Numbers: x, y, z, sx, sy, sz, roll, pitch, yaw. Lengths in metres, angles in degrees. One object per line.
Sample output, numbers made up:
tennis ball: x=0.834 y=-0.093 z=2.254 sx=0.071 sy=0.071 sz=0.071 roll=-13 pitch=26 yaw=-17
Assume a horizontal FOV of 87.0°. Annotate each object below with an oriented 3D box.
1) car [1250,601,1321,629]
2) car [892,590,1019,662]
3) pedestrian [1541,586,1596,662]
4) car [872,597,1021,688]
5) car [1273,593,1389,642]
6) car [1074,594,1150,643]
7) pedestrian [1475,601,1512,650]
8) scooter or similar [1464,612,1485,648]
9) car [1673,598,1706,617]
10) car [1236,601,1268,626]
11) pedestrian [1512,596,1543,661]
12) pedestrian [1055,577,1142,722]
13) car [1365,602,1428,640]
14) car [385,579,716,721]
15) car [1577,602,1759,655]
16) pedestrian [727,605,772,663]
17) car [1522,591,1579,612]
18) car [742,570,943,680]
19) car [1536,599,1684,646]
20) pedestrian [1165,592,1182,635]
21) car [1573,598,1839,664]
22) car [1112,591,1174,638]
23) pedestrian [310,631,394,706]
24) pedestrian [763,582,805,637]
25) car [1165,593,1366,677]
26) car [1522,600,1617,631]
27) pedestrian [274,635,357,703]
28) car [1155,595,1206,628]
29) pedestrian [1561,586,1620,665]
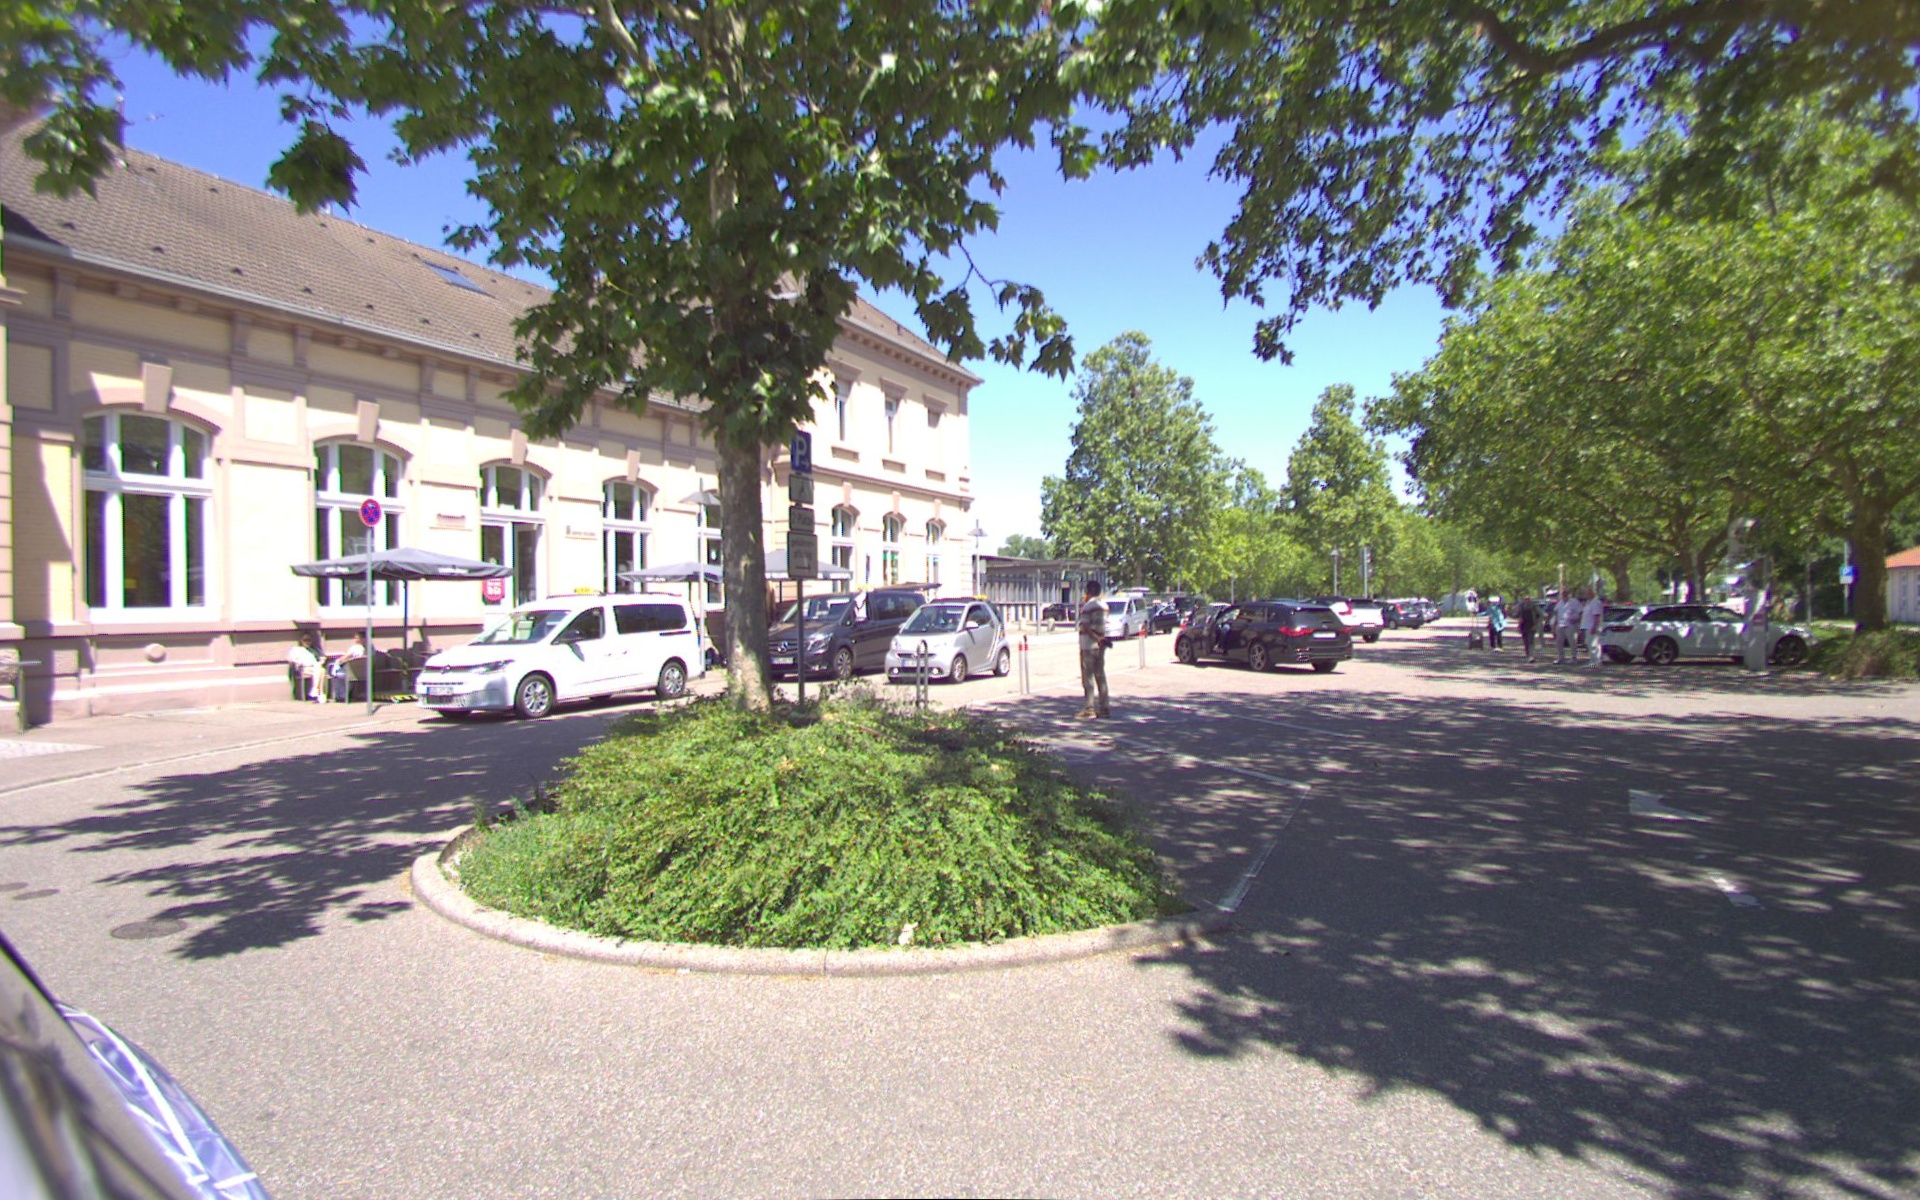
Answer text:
car: x=17.610 y=0.819 z=54.871 sx=1.772 sy=1.414 sz=3.524 roll=0 pitch=-1 yaw=-23
car: x=-0.026 y=0.742 z=29.331 sx=2.066 sy=1.854 sz=4.806 roll=-2 pitch=-2 yaw=21
pedestrian: x=14.637 y=0.572 z=24.360 sx=0.829 sy=1.784 sz=0.850 roll=-1 pitch=-1 yaw=8
car: x=-0.185 y=0.755 z=19.620 sx=1.594 sy=1.605 sz=3.077 roll=-1 pitch=-1 yaw=28
car: x=13.512 y=0.588 z=37.073 sx=1.770 sy=1.617 sz=4.076 roll=-2 pitch=1 yaw=-19
car: x=6.394 y=0.734 z=42.110 sx=1.990 sy=1.854 sz=5.281 roll=-3 pitch=-1 yaw=21
pedestrian: x=16.113 y=0.766 z=30.568 sx=0.788 sy=1.435 sz=0.693 roll=0 pitch=-1 yaw=-34
scooter or similar: x=15.815 y=0.920 z=31.088 sx=0.430 sy=1.110 sz=0.404 roll=0 pitch=-1 yaw=-35
car: x=71.350 y=0.764 z=99.049 sx=1.889 sy=1.788 sz=3.966 roll=-1 pitch=-1 yaw=25
car: x=23.754 y=1.068 z=82.318 sx=2.037 sy=1.854 sz=4.930 roll=-3 pitch=-1 yaw=21
pedestrian: x=13.815 y=0.675 z=24.646 sx=0.586 sy=1.560 sz=0.606 roll=0 pitch=0 yaw=22
pedestrian: x=1.724 y=0.598 z=12.672 sx=0.760 sy=1.730 sz=0.817 roll=-1 pitch=-1 yaw=-20
car: x=23.302 y=1.108 z=54.157 sx=1.716 sy=1.908 sz=3.997 roll=-1 pitch=-1 yaw=3
car: x=-6.205 y=0.725 z=16.125 sx=1.804 sy=1.880 sz=5.097 roll=-2 pitch=-2 yaw=24
car: x=20.582 y=0.818 z=29.534 sx=3.968 sy=1.416 sz=1.879 roll=-1 pitch=-1 yaw=-3
pedestrian: x=-5.757 y=0.914 z=27.723 sx=0.876 sy=1.555 sz=0.845 roll=0 pitch=0 yaw=22
car: x=40.870 y=0.091 z=70.087 sx=3.138 sy=1.405 sz=1.455 roll=-1 pitch=0 yaw=21
car: x=-2.439 y=0.564 z=22.951 sx=2.078 sy=2.140 sz=5.785 roll=-2 pitch=-2 yaw=21
car: x=21.439 y=0.726 z=33.477 sx=3.820 sy=1.471 sz=1.637 roll=-1 pitch=0 yaw=-1
pedestrian: x=10.076 y=0.624 z=47.765 sx=0.624 sy=2.005 sz=0.613 roll=-3 pitch=-1 yaw=21
car: x=17.435 y=0.711 z=23.863 sx=4.722 sy=1.427 sz=1.782 roll=-1 pitch=0 yaw=8
car: x=8.703 y=0.667 z=47.865 sx=1.990 sy=2.005 sz=4.571 roll=-3 pitch=-1 yaw=21
pedestrian: x=-10.152 y=1.118 z=16.917 sx=0.876 sy=1.170 sz=0.845 roll=1 pitch=0 yaw=22
pedestrian: x=-5.120 y=0.272 z=29.427 sx=0.876 sy=1.555 sz=0.845 roll=0 pitch=0 yaw=22
car: x=6.472 y=0.664 z=22.046 sx=1.770 sy=1.554 sz=4.545 roll=-2 pitch=1 yaw=-20
car: x=30.981 y=0.779 z=51.480 sx=3.820 sy=1.471 sz=1.637 roll=-1 pitch=0 yaw=-1
pedestrian: x=-11.008 y=1.158 z=17.293 sx=0.876 sy=1.088 sz=0.845 roll=1 pitch=0 yaw=22
car: x=13.415 y=0.657 z=61.386 sx=1.990 sy=1.803 sz=4.209 roll=-4 pitch=-1 yaw=27
pedestrian: x=14.523 y=0.586 z=23.329 sx=0.828 sy=1.784 sz=0.850 roll=-1 pitch=-1 yaw=6
